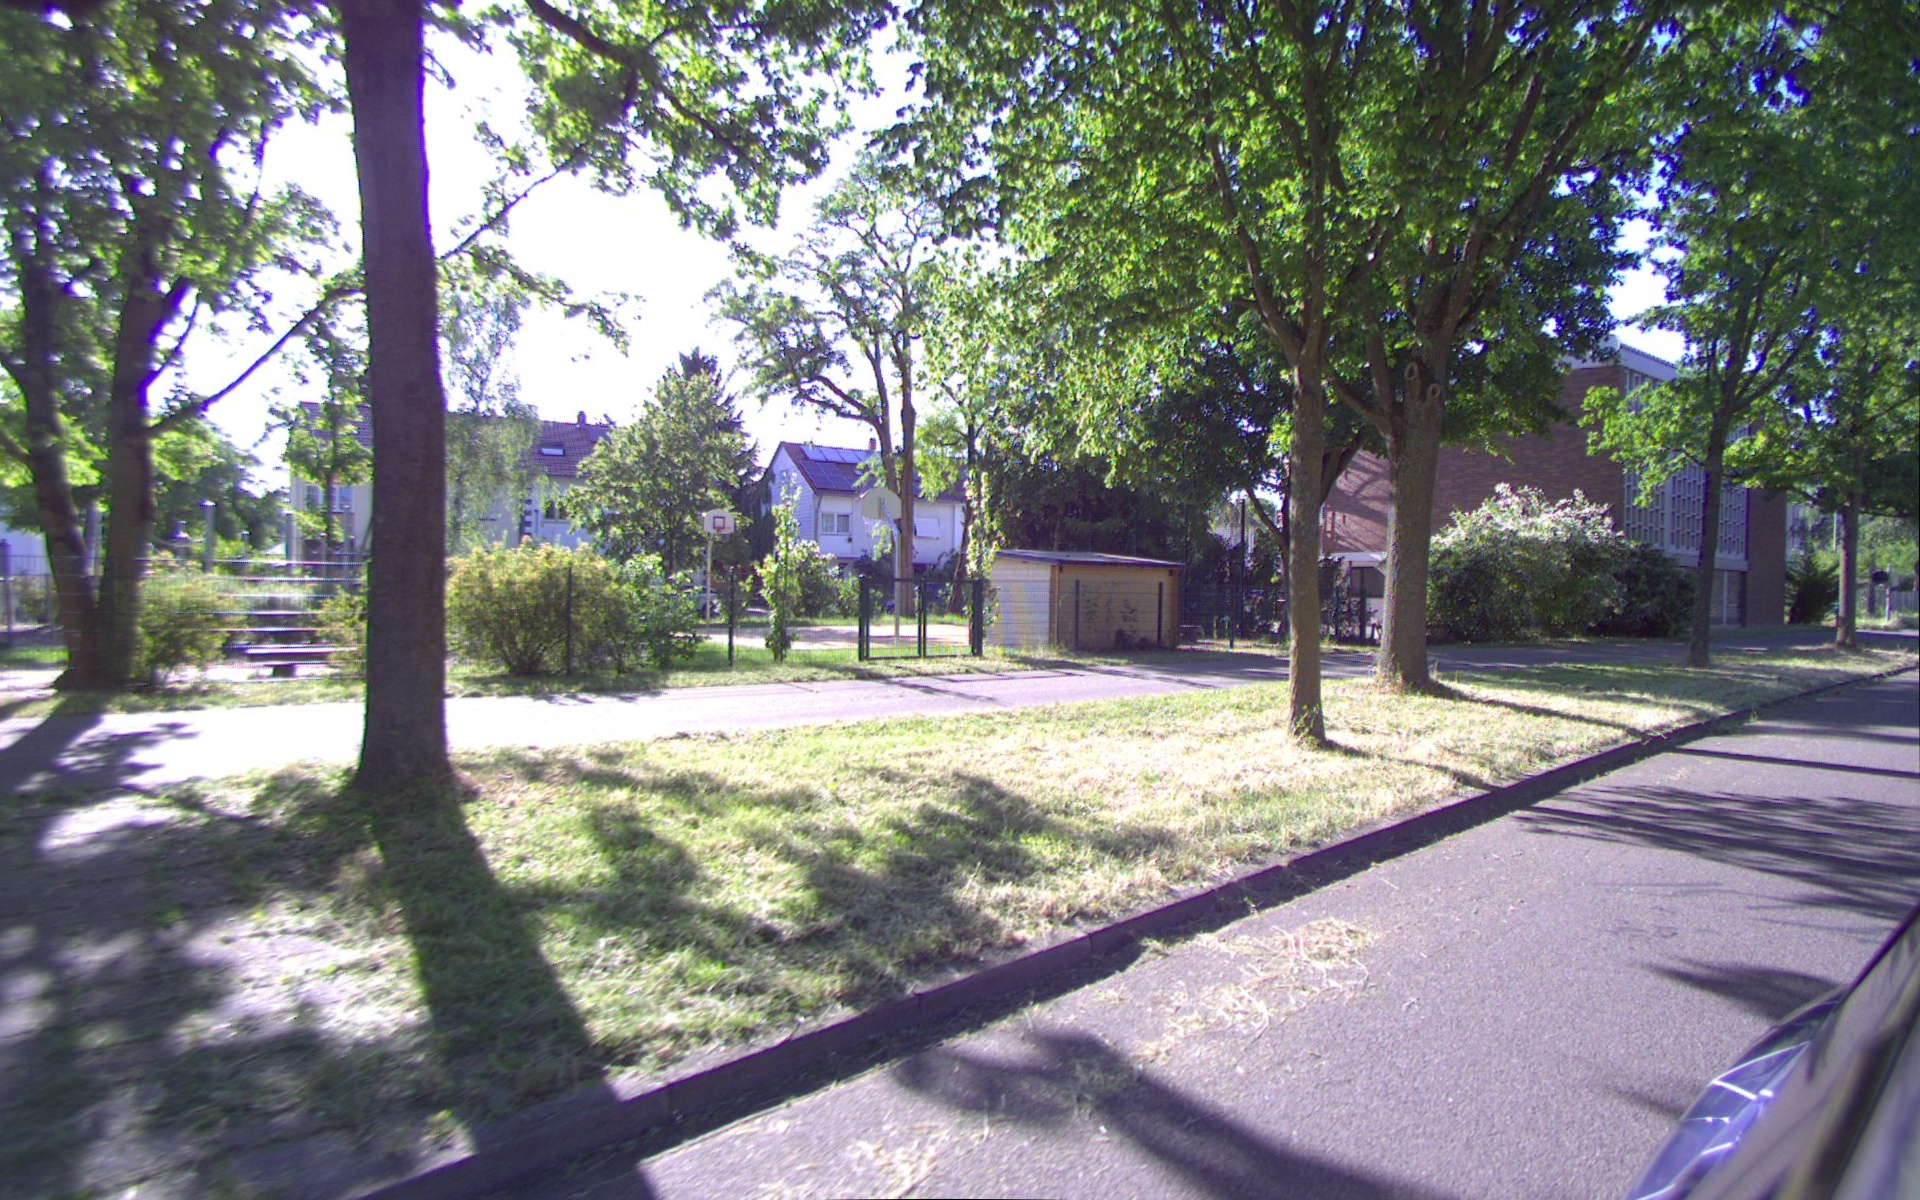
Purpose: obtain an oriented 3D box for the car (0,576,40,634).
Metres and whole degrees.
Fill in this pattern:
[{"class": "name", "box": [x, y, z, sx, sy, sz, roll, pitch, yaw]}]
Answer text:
[{"class": "car", "box": [-34.439, 0.174, 34.765, 3.923, 1.972, 2.000, -1, 0, -34]}]
